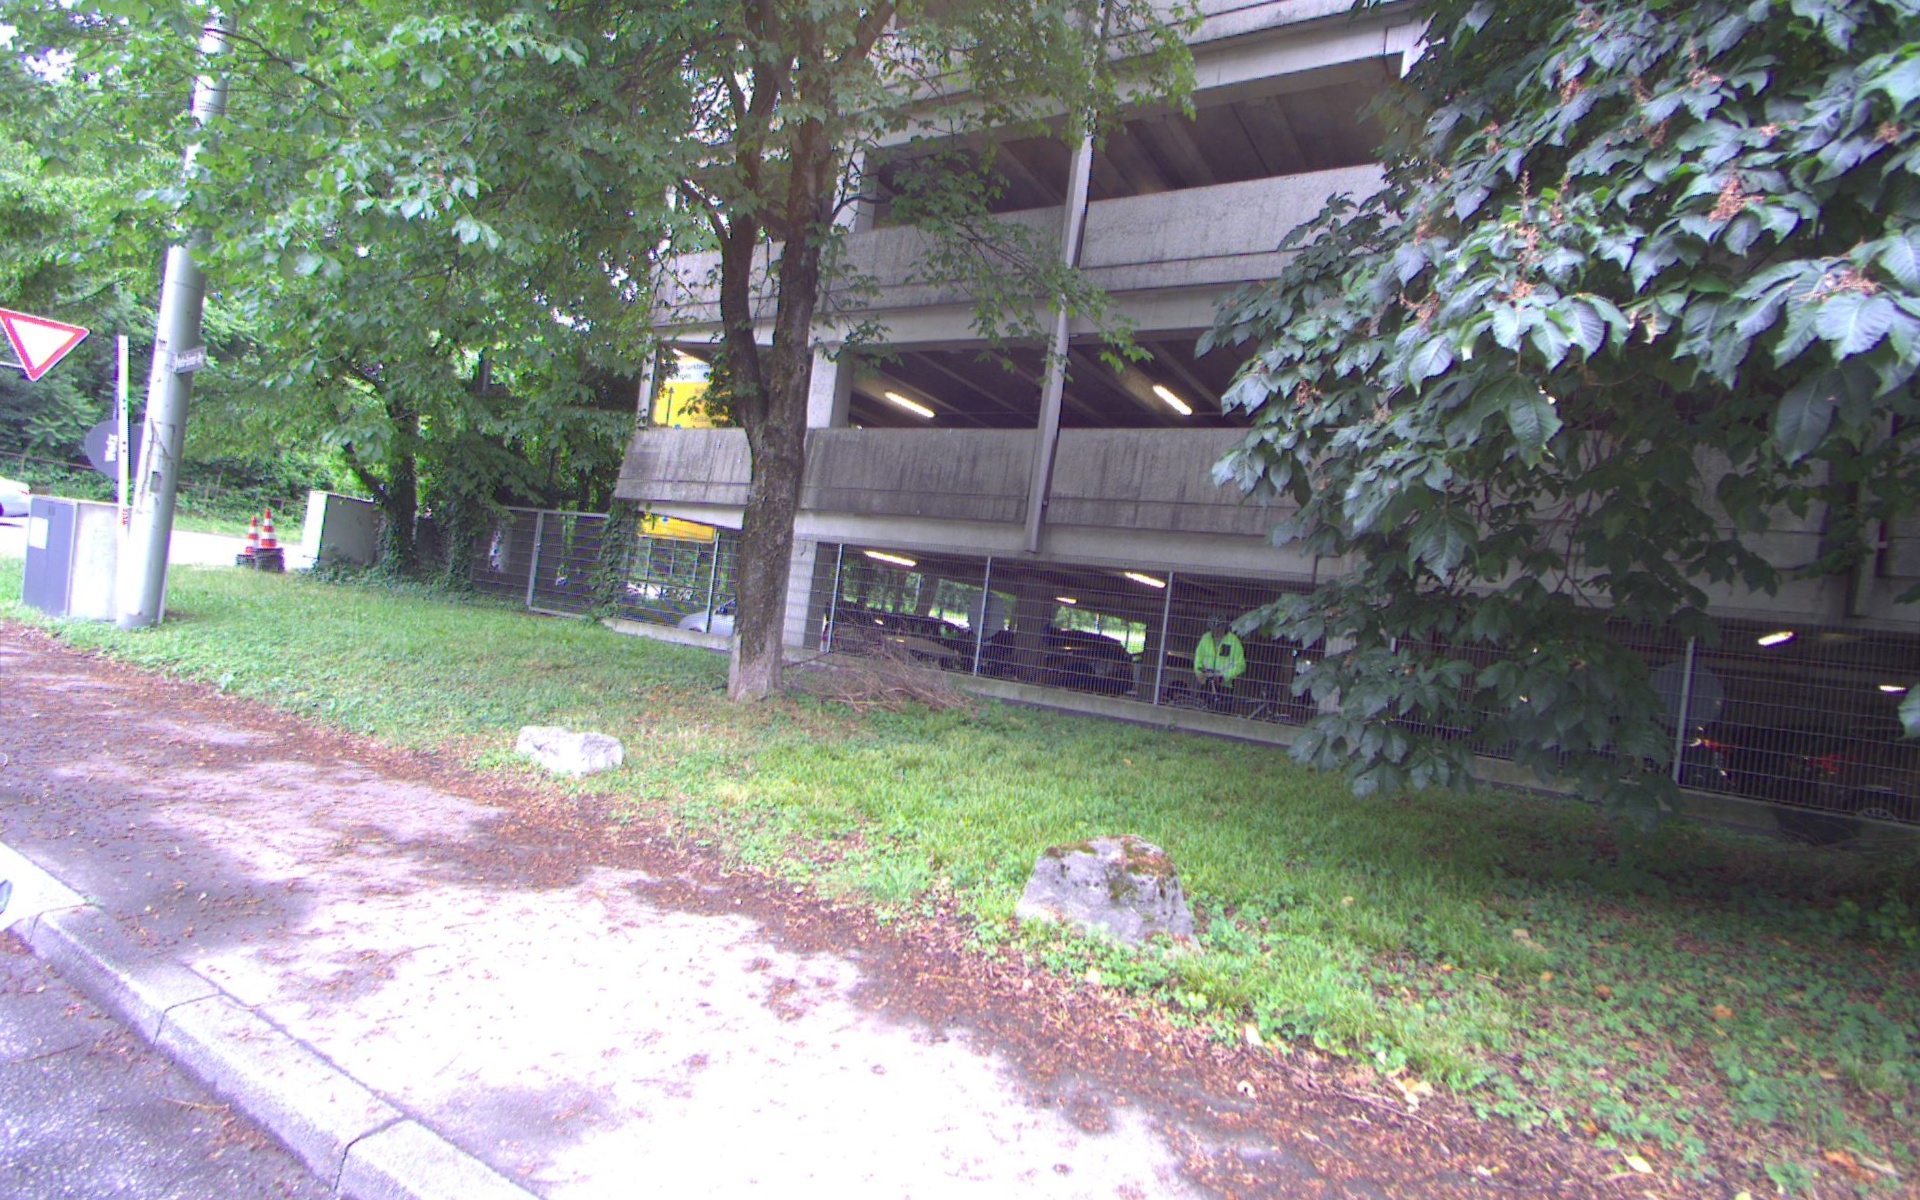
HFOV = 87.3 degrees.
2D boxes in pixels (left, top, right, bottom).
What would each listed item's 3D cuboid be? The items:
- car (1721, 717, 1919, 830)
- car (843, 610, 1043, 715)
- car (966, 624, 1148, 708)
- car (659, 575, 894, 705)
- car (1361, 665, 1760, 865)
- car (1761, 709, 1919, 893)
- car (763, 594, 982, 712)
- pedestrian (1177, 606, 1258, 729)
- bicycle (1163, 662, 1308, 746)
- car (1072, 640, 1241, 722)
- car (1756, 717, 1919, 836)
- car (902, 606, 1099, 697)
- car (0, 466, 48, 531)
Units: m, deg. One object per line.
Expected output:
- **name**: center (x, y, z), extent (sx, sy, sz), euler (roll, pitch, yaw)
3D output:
- **car**: center (16.597, 3.239, 18.655), extent (3.640, 1.625, 1.721), euler (5, -3, 30)
- **car**: center (-0.377, 1.280, 20.884), extent (3.658, 1.682, 1.734), euler (5, -3, 32)
- **car**: center (2.423, 1.638, 25.155), extent (3.934, 1.569, 1.998), euler (5, -3, 32)
- **car**: center (-3.117, 0.656, 16.902), extent (3.658, 1.727, 1.484), euler (5, -3, 32)
- **car**: center (8.616, 2.287, 14.840), extent (4.597, 2.036, 1.998), euler (5, -3, 31)
- **car**: center (12.667, 2.651, 12.472), extent (3.935, 2.036, 1.997), euler (5, -3, 33)
- **car**: center (-1.671, 0.972, 18.828), extent (3.707, 1.727, 1.584), euler (5, -3, 32)
- **pedestrian**: center (2.986, 0.786, 11.657), extent (0.626, 1.332, 0.642), euler (5, -3, 31)
- **bicycle**: center (3.115, 1.162, 11.383), extent (1.469, 0.744, 0.448), euler (6, -3, 24)
- **car**: center (6.134, 2.520, 31.558), extent (4.658, 1.855, 1.923), euler (6, -3, 33)
- **car**: center (15.607, 2.987, 16.521), extent (3.640, 1.625, 1.721), euler (5, -3, 30)
- **car**: center (0.920, 1.177, 23.221), extent (3.934, 1.569, 1.998), euler (5, -3, 32)
- **car**: center (-23.607, -2.657, 22.187), extent (1.802, 1.349, 4.763), euler (10, -1, 30)
